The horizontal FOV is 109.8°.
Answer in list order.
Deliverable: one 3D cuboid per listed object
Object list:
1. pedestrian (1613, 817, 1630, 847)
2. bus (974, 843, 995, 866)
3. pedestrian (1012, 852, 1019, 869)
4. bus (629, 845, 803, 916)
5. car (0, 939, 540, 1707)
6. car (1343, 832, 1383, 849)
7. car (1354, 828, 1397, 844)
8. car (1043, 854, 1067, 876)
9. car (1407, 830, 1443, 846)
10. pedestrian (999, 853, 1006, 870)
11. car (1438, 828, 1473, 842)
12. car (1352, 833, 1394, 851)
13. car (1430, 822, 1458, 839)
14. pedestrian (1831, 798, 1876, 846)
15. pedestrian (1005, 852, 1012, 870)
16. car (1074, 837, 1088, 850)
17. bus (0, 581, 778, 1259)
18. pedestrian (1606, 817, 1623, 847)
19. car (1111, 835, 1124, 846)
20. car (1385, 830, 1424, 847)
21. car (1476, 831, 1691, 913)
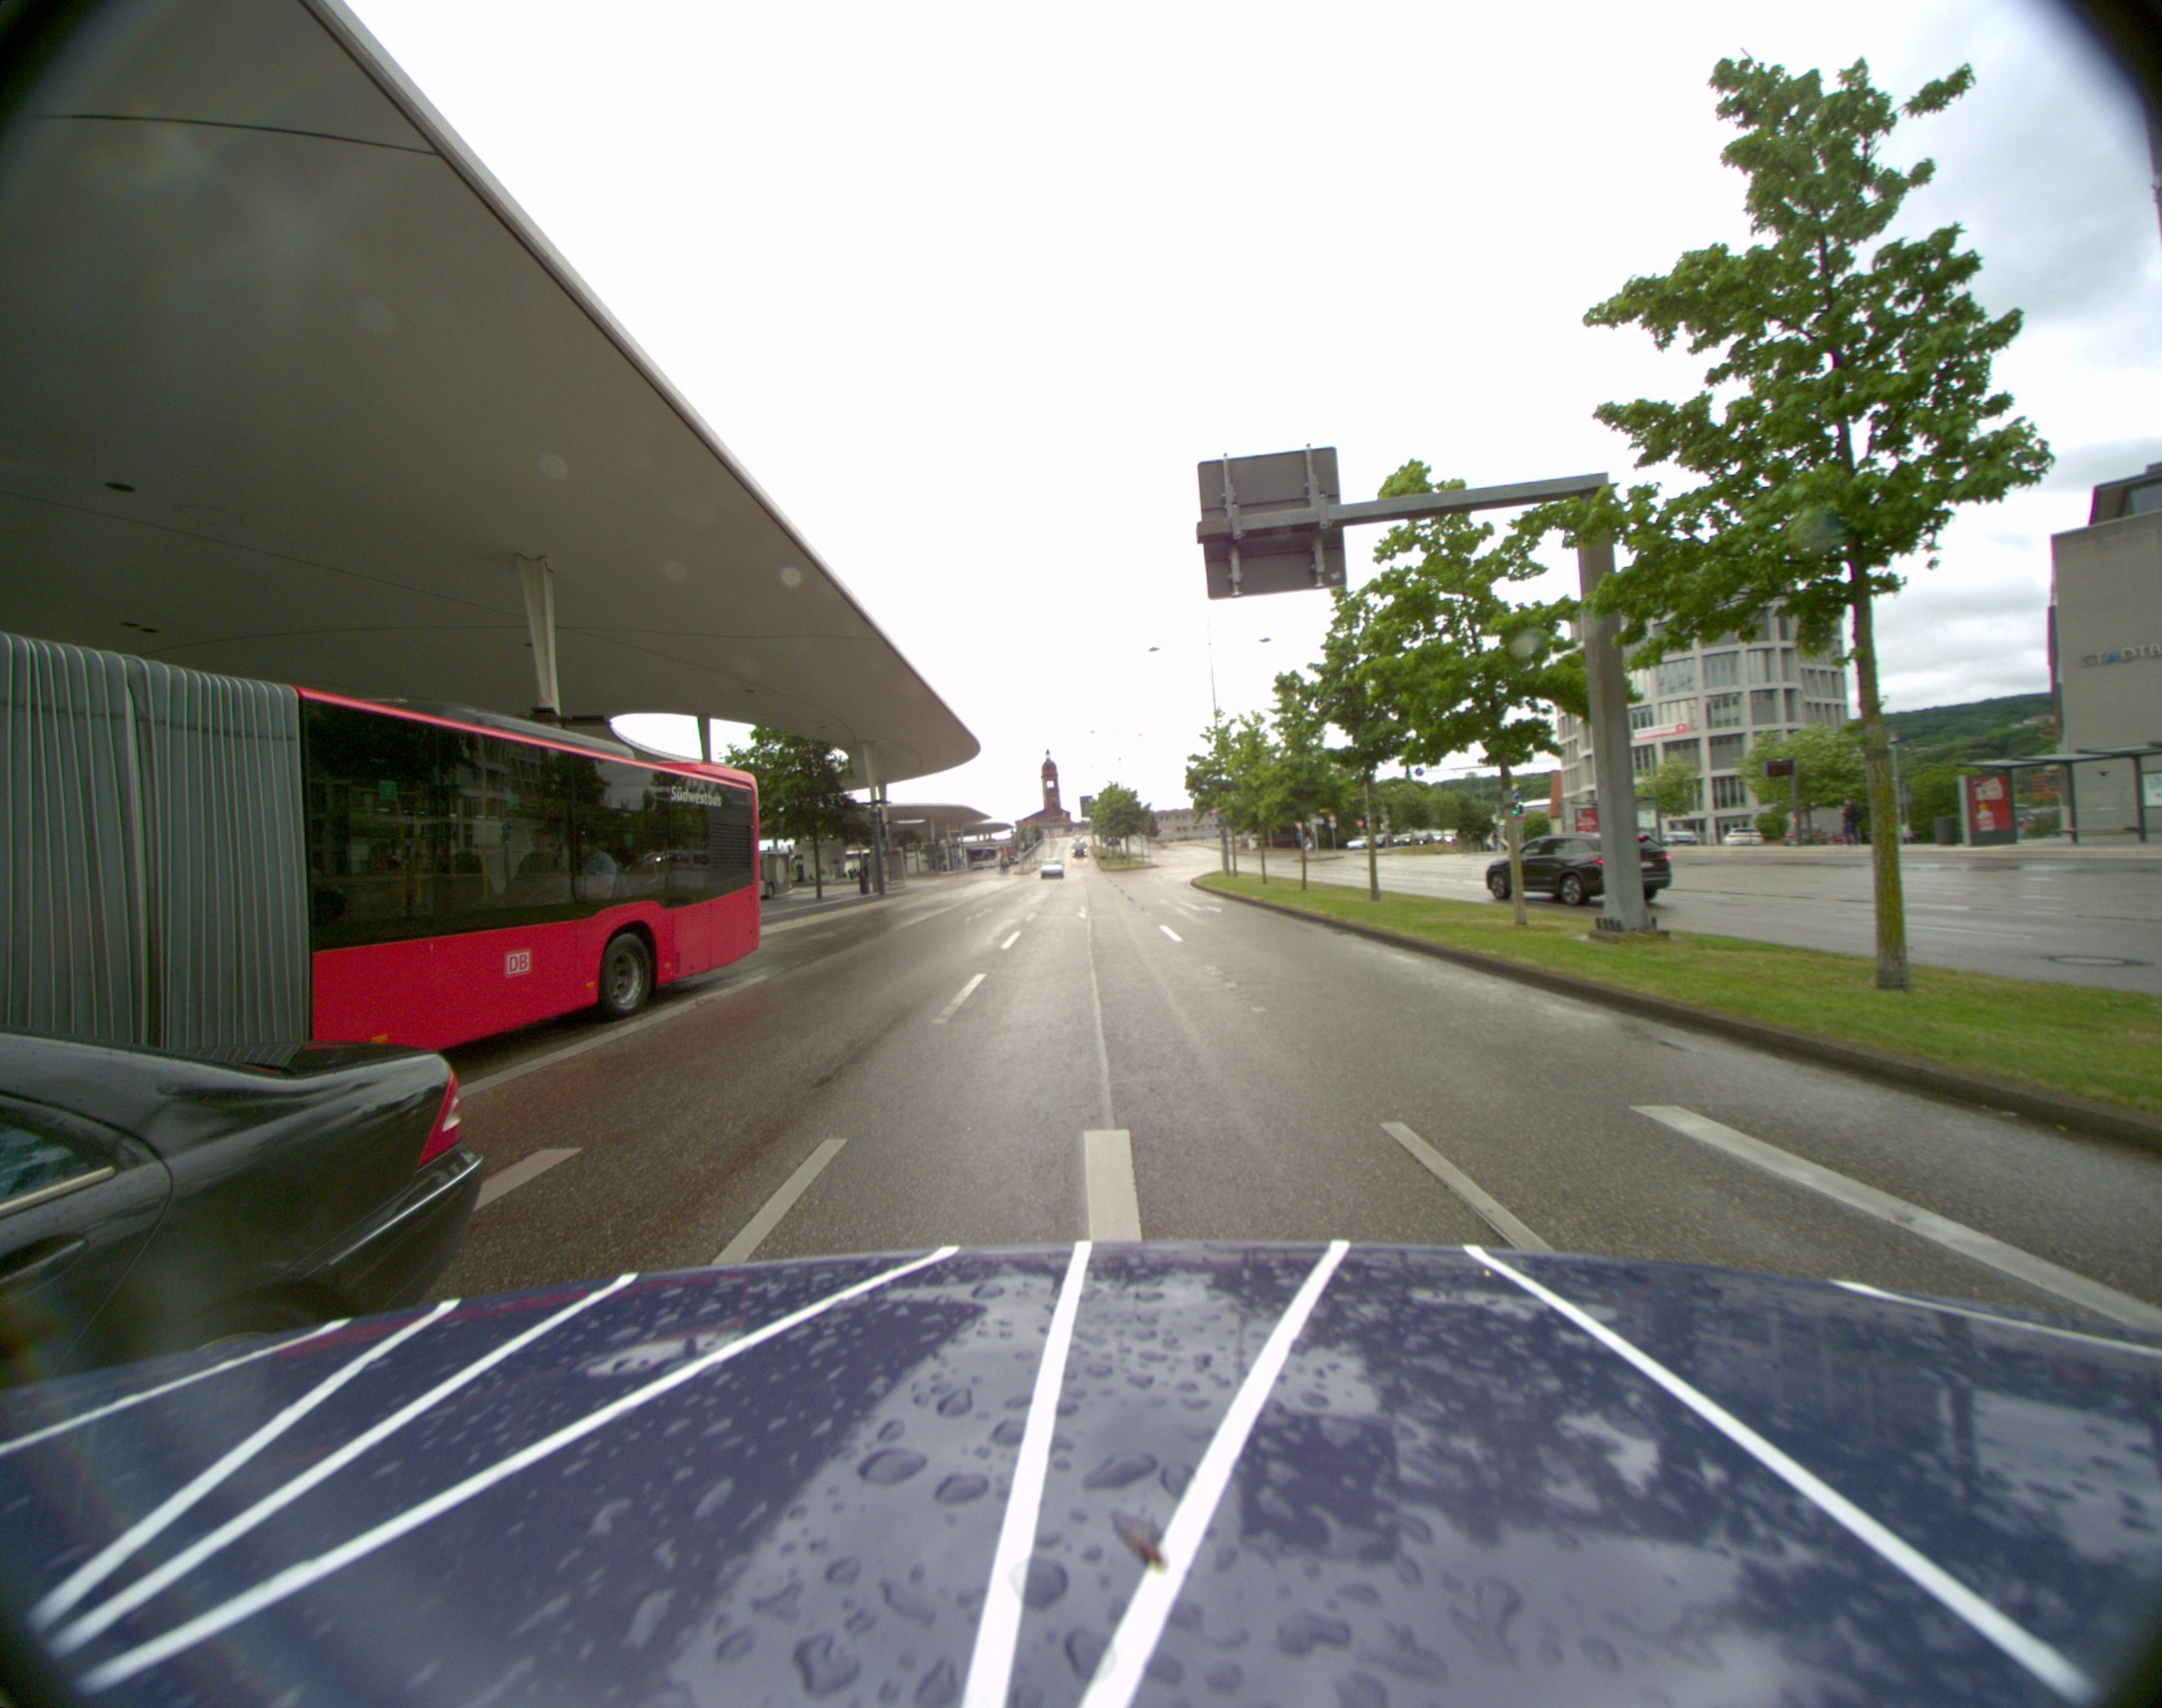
[{"bbox_3d":[30.051,-1.228,42.256,0.520,1.625,0.536,-2,1,1],"label":"pedestrian"},{"bbox_3d":[-14.307,0.086,113.275,2.675,3.111,9.712,-3,0,-5],"label":"bus"},{"bbox_3d":[-6.218,0.645,72.421,0.557,1.614,0.552,-3,1,1],"label":"pedestrian"},{"bbox_3d":[-19.856,1.226,42.795,3.003,3.088,12.356,-6,0,3],"label":"bus"},{"bbox_3d":[-2.822,1.142,0.411,1.750,1.471,4.434,-5,1,0],"label":"car"},{"bbox_3d":[32.125,-1.530,86.350,4.925,1.702,2.190,-3,1,-42],"label":"car"},{"bbox_3d":[41.055,-2.537,106.154,2.315,2.002,5.021,-3,1,-41],"label":"car"},{"bbox_3d":[-1.962,0.794,56.670,1.628,1.450,3.734,-3,0,-3],"label":"car"},{"bbox_3d":[42.157,-1.950,92.982,4.925,1.702,2.190,-3,1,-43],"label":"car"},{"bbox_3d":[-7.499,0.735,72.601,0.576,1.614,0.588,-3,1,1],"label":"pedestrian"},{"bbox_3d":[50.675,-2.597,102.933,2.195,1.702,4.916,-3,0,0],"label":"car"},{"bbox_3d":[31.526,-1.348,81.935,4.925,1.702,2.190,-3,1,-43],"label":"car"},{"bbox_3d":[46.872,-3.065,98.119,1.994,2.002,4.008,-2,0,44],"label":"car"},{"bbox_3d":[29.130,-1.197,28.657,0.787,1.750,0.972,-3,1,-28],"label":"pedestrian"},{"bbox_3d":[-6.895,0.673,72.562,0.557,1.614,0.552,-3,1,1],"label":"pedestrian"},{"bbox_3d":[0.003,-1.375,103.115,1.704,1.656,3.998,-3,1,-2],"label":"car"},{"bbox_3d":[-6.153,0.353,7.610,2.750,3.155,8.120,-3,0,1],"label":"bus"},{"bbox_3d":[29.502,-1.202,42.023,0.504,1.625,0.502,-2,1,1],"label":"pedestrian"},{"bbox_3d":[6.144,-2.266,129.066,1.998,1.765,4.000,-3,0,1],"label":"car"},{"bbox_3d":[37.256,-1.801,87.477,4.925,1.702,2.190,-3,1,-43],"label":"car"},{"bbox_3d":[11.793,0.369,18.308,1.827,1.630,4.597,-3,0,-4],"label":"car"}]
